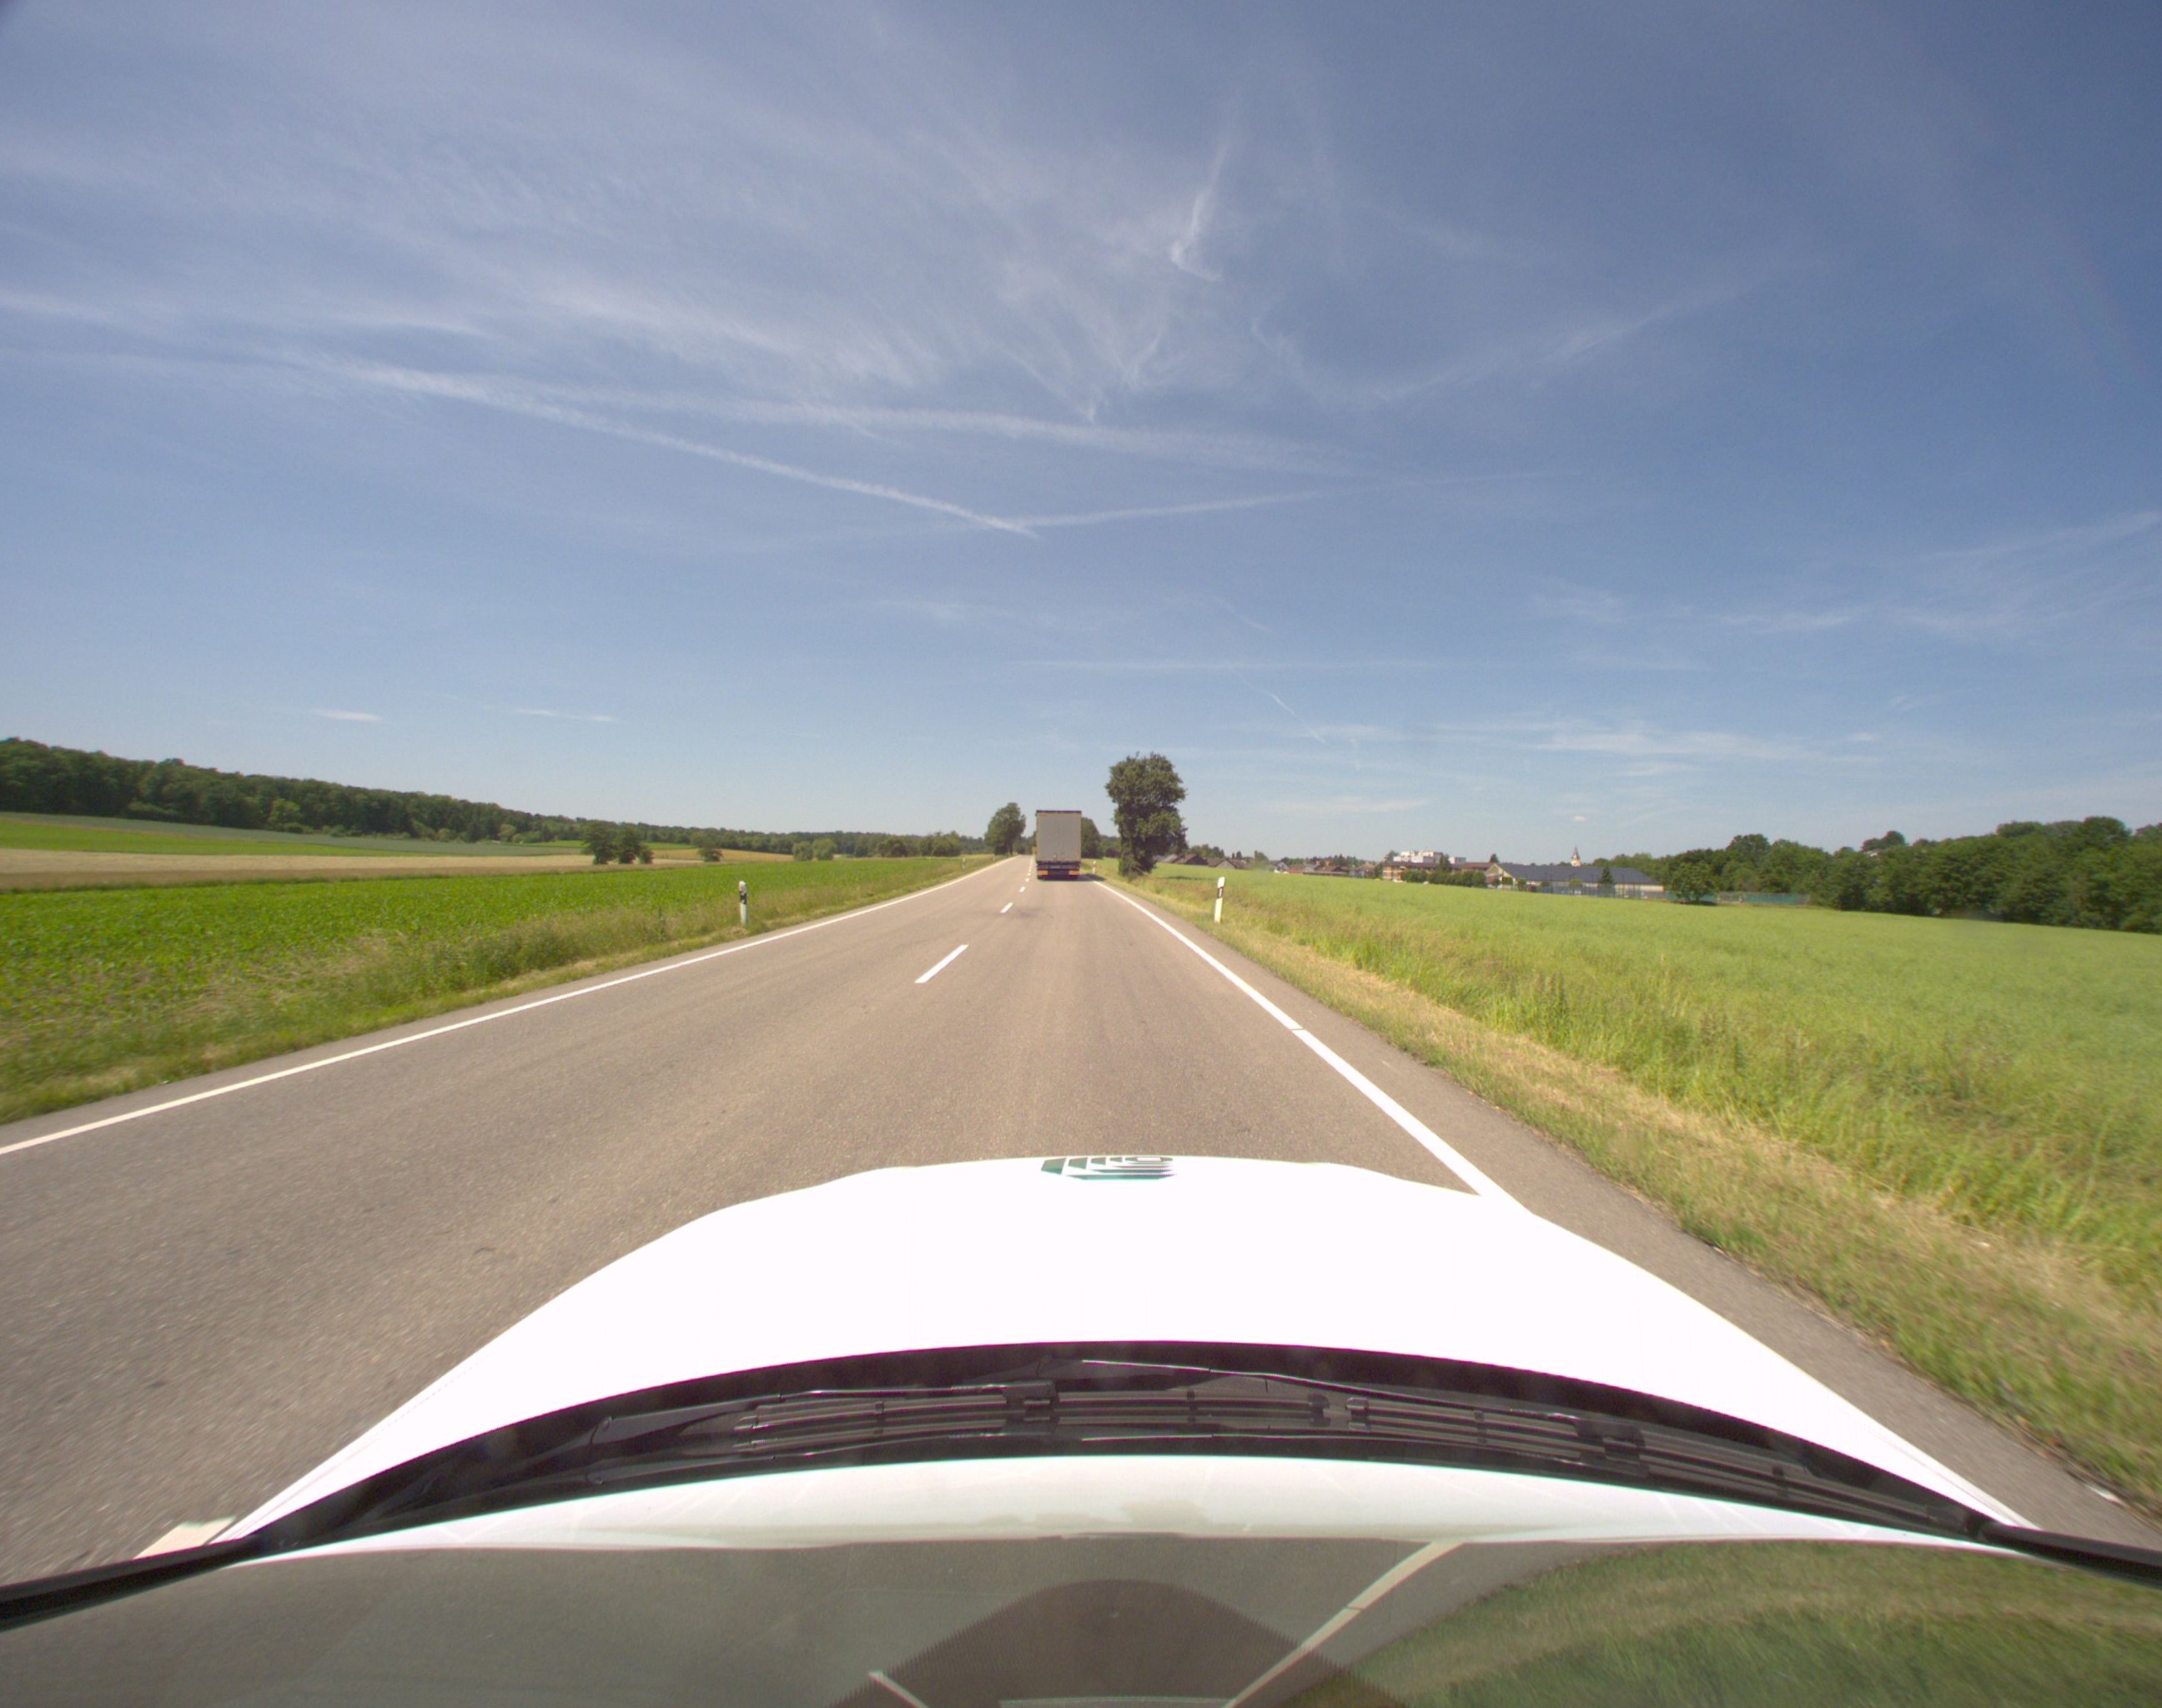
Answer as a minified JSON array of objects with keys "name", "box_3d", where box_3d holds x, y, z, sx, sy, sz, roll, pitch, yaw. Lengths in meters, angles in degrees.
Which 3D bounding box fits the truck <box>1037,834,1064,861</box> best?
[{"name":"truck","box_3d":[-5.207,-1.048,142.131,3.537,4.392,18.124,0,0,1]}]

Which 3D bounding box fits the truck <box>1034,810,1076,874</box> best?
[{"name":"truck","box_3d":[-1.945,-0.850,59.281,2.853,4.400,5.065,-1,0,-3]}]

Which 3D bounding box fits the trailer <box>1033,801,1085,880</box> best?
[{"name":"trailer","box_3d":[-1.549,-0.780,52.092,2.860,4.400,13.477,-1,0,-3]}]

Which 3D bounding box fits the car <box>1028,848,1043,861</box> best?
[{"name":"car","box_3d":[-6.576,0.045,117.746,1.717,1.873,4.004,-1,0,4]}]
